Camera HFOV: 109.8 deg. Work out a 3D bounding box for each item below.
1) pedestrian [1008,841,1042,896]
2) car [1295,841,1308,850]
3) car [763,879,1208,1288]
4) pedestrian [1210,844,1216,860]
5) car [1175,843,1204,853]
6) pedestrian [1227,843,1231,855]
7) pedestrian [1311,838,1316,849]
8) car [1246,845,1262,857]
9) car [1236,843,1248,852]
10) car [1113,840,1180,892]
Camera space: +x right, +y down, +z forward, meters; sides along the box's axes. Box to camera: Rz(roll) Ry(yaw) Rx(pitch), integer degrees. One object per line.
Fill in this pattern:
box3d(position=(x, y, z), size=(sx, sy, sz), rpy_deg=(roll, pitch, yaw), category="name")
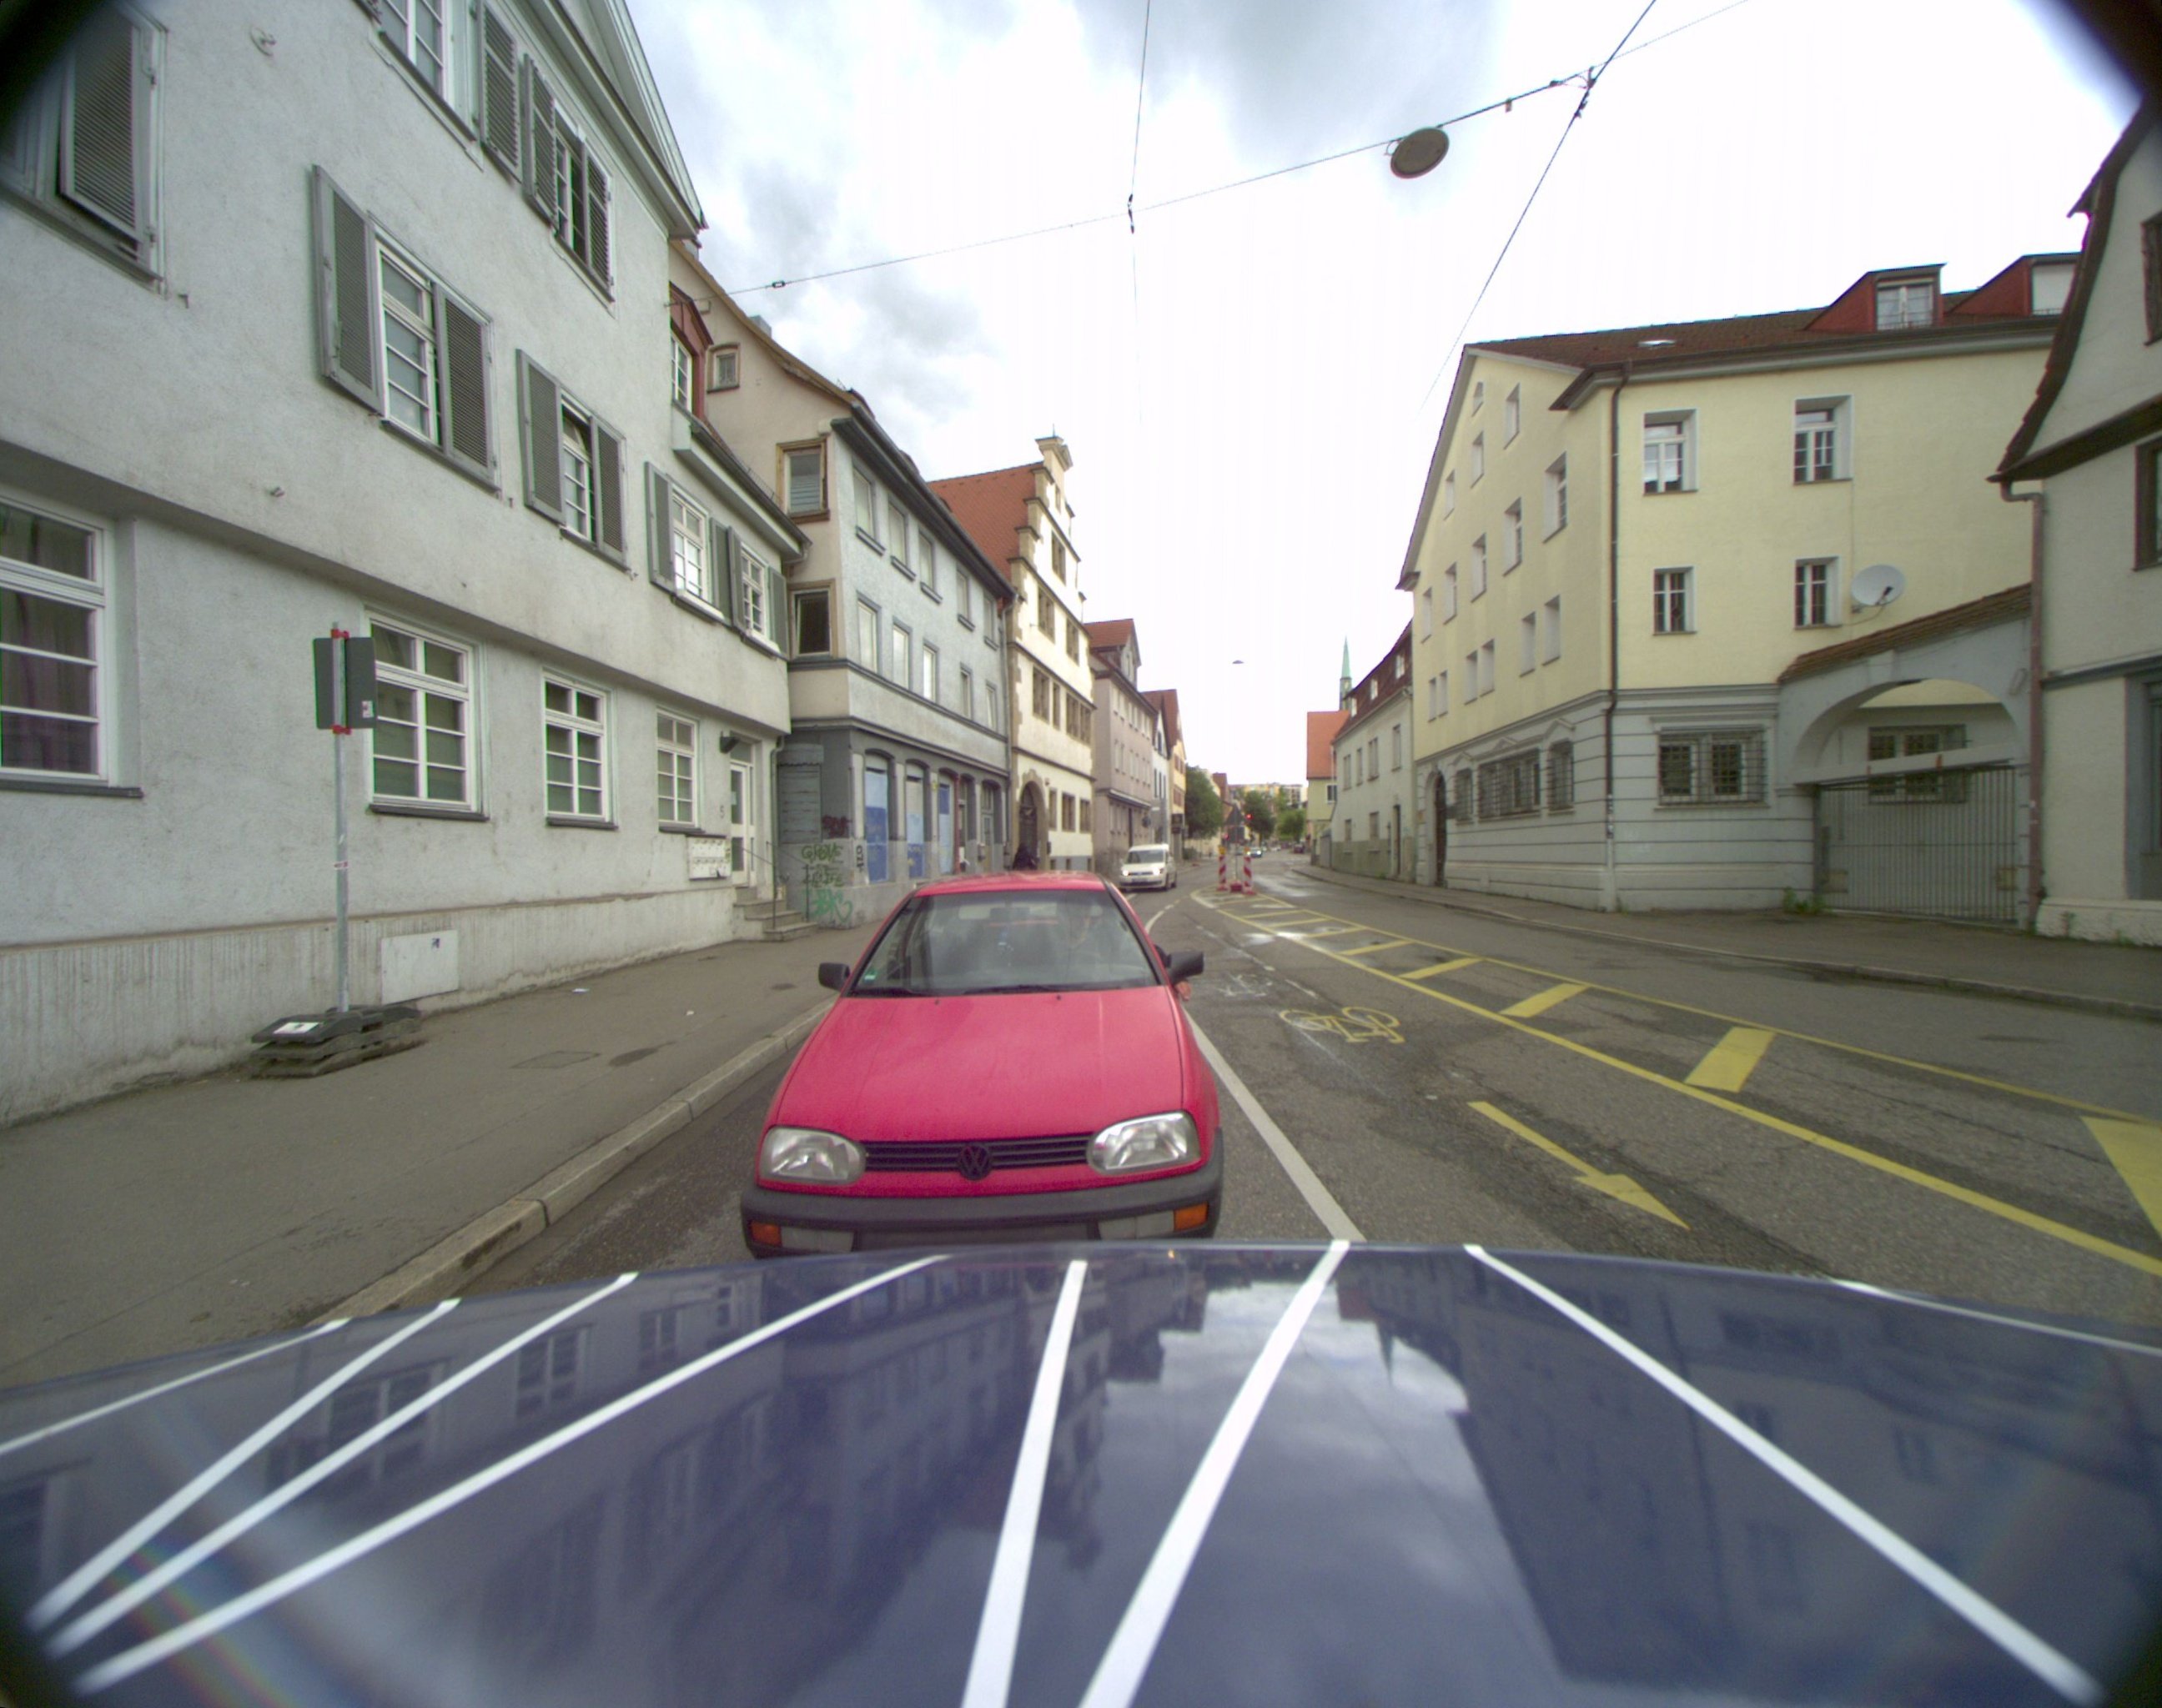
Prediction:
box3d(position=(-1.721, 0.438, 23.525), size=(0.756, 1.658, 0.810), rpy_deg=(2, 1, 15), category="pedestrian")
box3d(position=(42.658, -1.660, 146.796), size=(2.210, 1.668, 4.502), rpy_deg=(0, 1, 14), category="car")
box3d(position=(-0.335, 0.956, 4.942), size=(1.685, 1.418, 4.021), rpy_deg=(-1, 0, 1), category="car")
box3d(position=(19.405, -0.328, 111.771), size=(0.901, 2.297, 0.821), rpy_deg=(-1, 0, 13), category="pedestrian")
box3d(position=(16.302, -0.879, 113.625), size=(3.992, 1.455, 2.002), rpy_deg=(-1, 1, 17), category="car")
box3d(position=(25.587, -0.924, 131.583), size=(0.660, 2.103, 0.646), rpy_deg=(-1, 0, 14), category="pedestrian")
box3d(position=(43.252, -1.867, 141.202), size=(0.835, 2.002, 0.846), rpy_deg=(-1, 1, 13), category="pedestrian")
box3d(position=(24.212, -0.431, 106.060), size=(1.996, 1.669, 4.004), rpy_deg=(-1, 1, 15), category="car")
box3d(position=(28.325, -1.115, 133.618), size=(2.031, 1.546, 4.004), rpy_deg=(0, 1, 14), category="car")
box3d(position=(2.577, 0.398, 29.038), size=(1.996, 1.777, 4.470), rpy_deg=(0, 2, 12), category="car")
